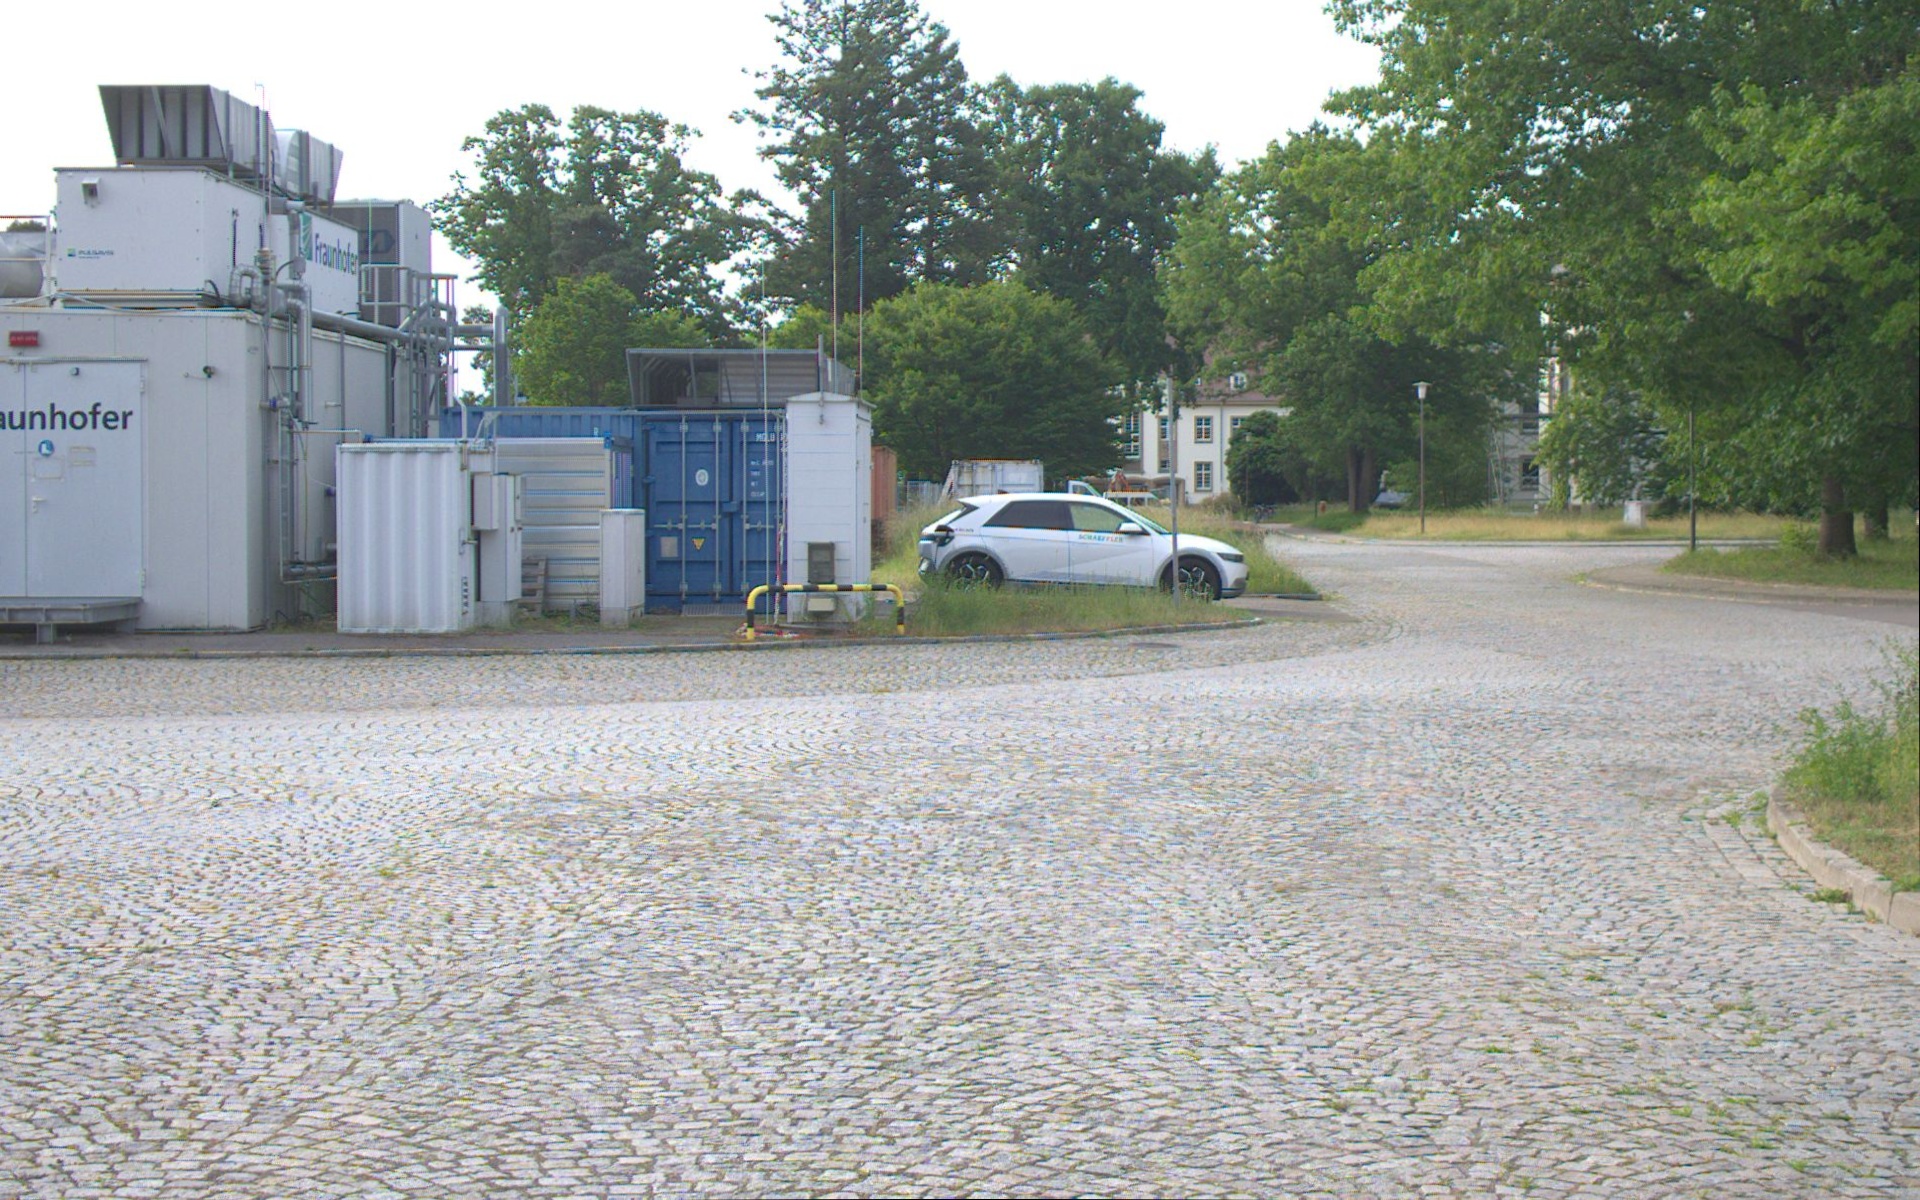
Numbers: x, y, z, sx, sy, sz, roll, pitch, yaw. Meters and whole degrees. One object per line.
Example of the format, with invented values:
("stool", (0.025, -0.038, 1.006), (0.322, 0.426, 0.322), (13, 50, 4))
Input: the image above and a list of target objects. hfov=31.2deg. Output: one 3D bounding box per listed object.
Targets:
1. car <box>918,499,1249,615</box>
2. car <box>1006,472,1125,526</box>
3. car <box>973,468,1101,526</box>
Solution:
("car", (1.759, -0.621, 48.174), (4.535, 1.594, 2.000), (0, 2, 4))
("car", (4.591, -4.398, 149.668), (5.170, 2.329, 2.000), (0, 1, 2))
("car", (3.153, -4.202, 140.152), (5.170, 2.329, 2.000), (0, 1, 2))
